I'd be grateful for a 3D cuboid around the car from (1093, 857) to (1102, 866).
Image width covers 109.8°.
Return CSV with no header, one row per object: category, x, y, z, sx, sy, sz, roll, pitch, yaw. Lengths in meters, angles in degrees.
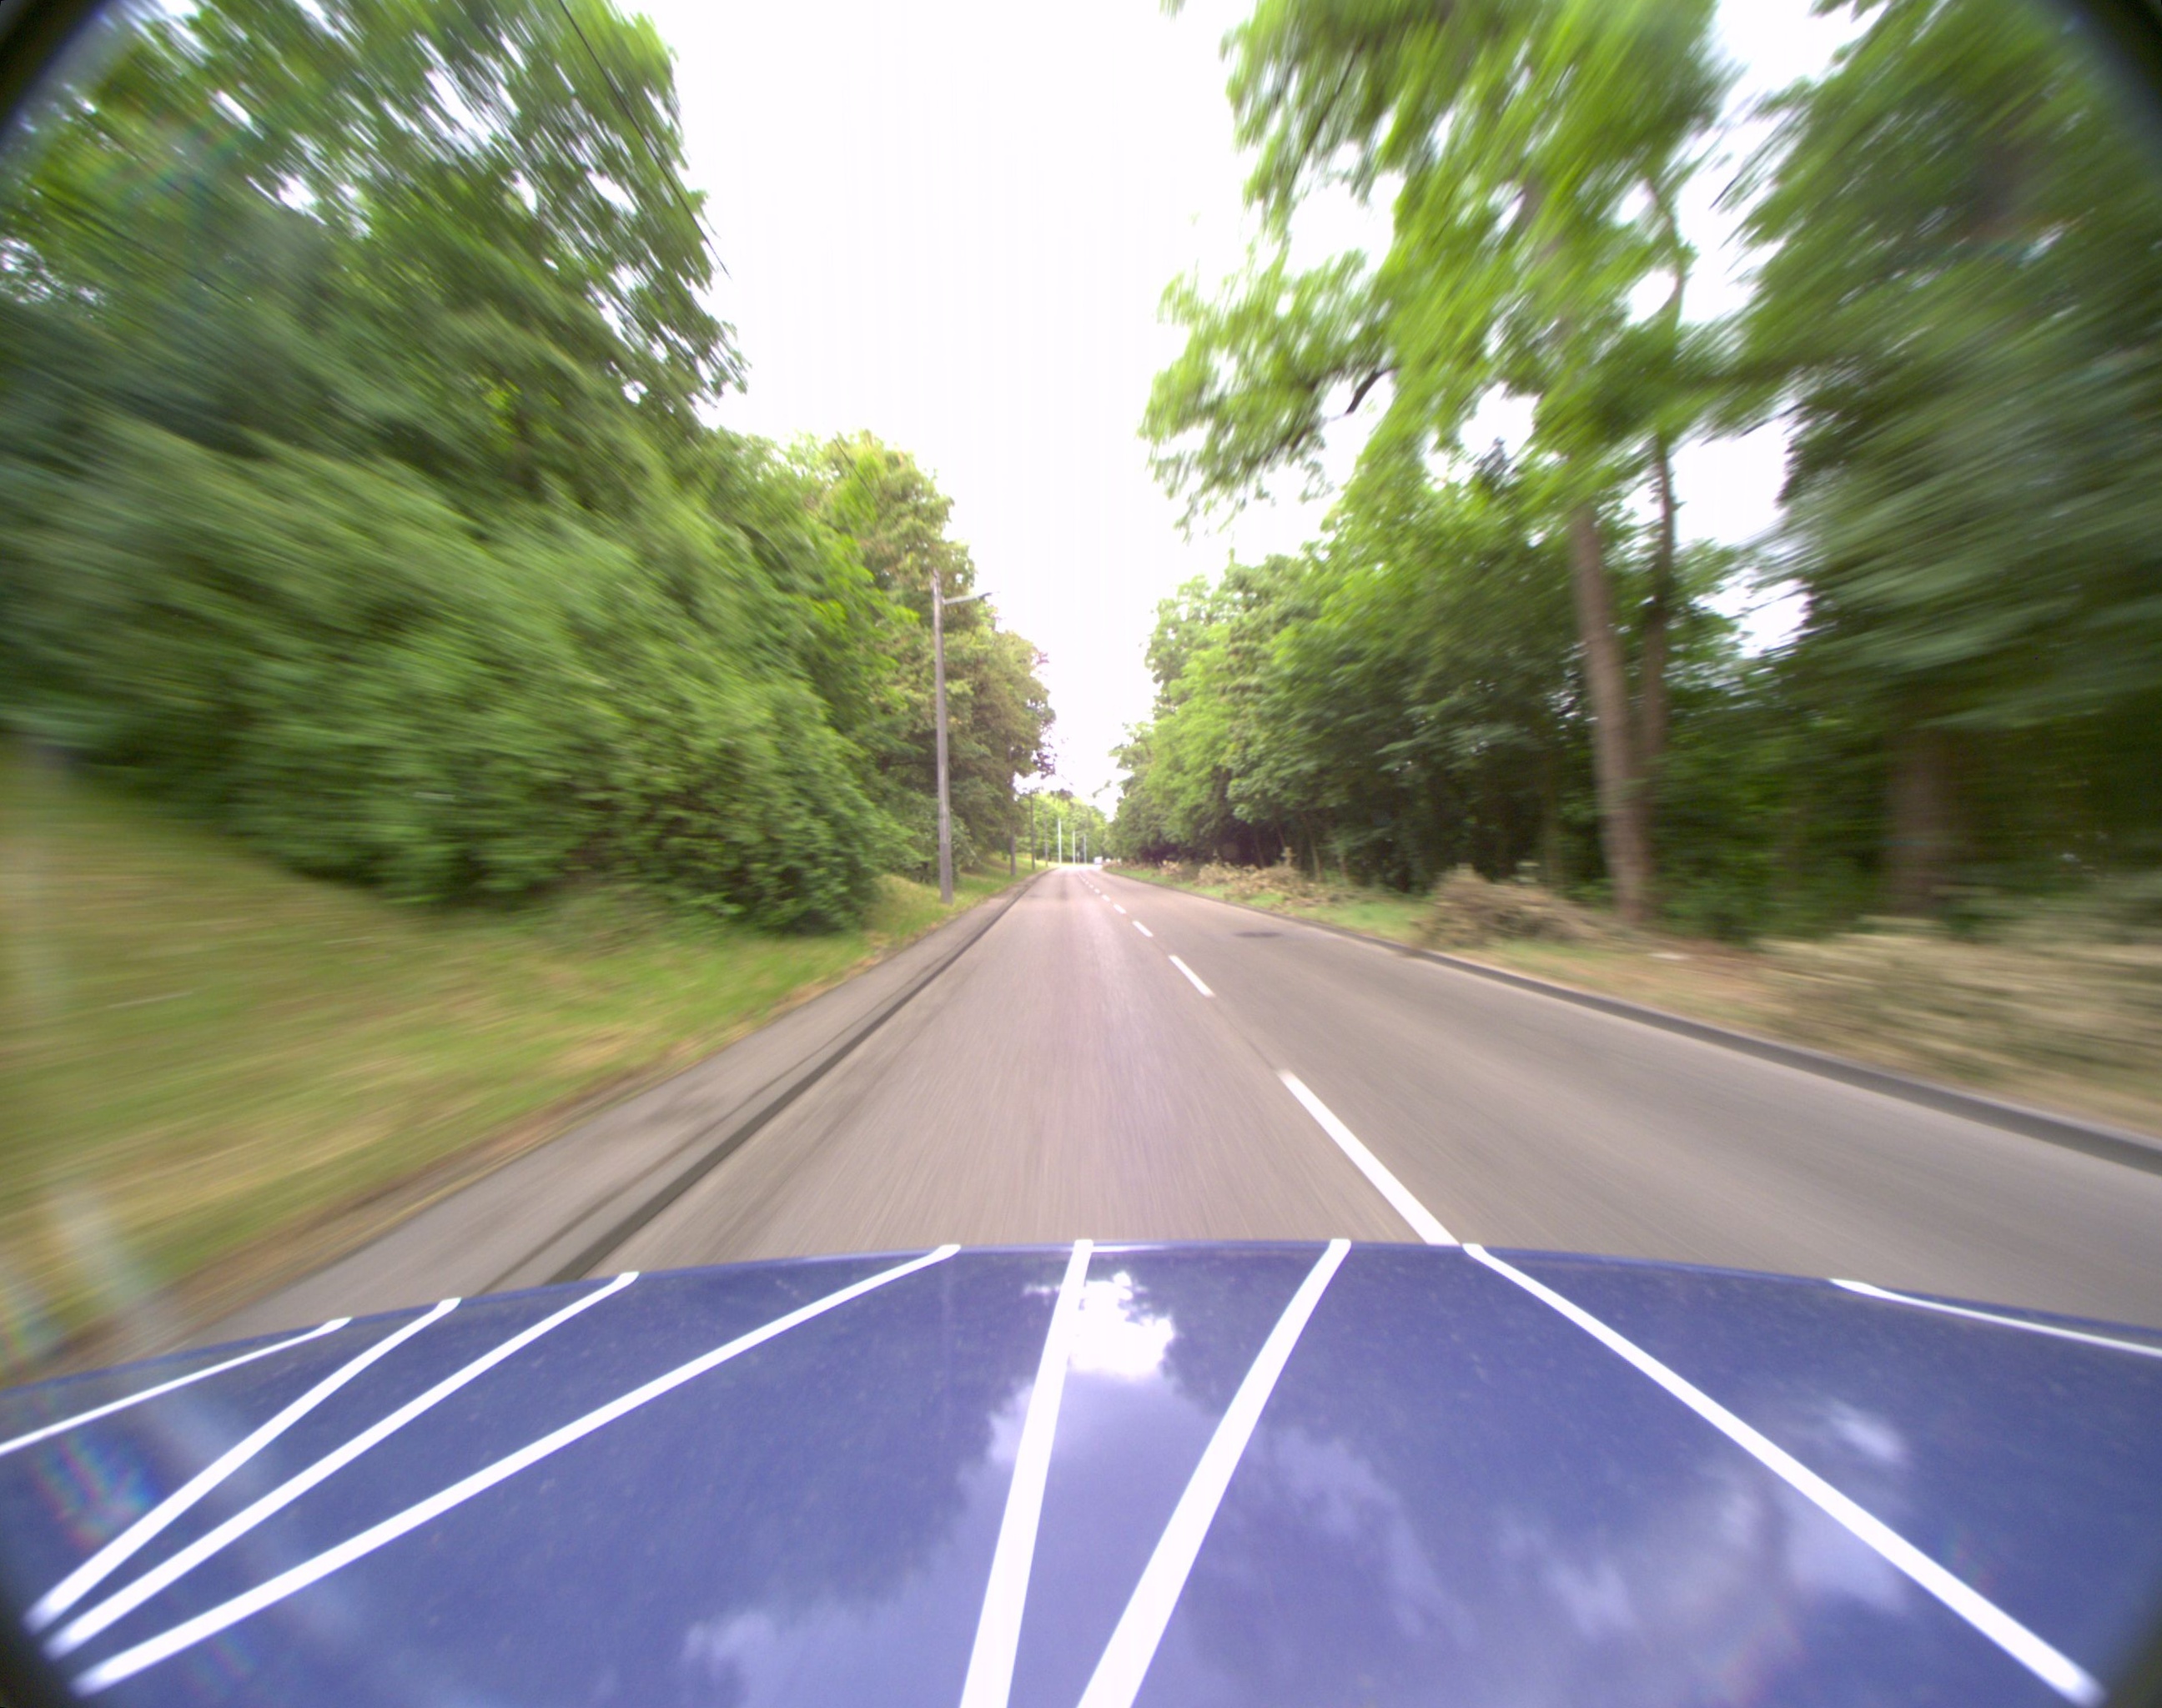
car,3.821,1.697,175.506,1.998,1.936,4.945,-1,0,1
